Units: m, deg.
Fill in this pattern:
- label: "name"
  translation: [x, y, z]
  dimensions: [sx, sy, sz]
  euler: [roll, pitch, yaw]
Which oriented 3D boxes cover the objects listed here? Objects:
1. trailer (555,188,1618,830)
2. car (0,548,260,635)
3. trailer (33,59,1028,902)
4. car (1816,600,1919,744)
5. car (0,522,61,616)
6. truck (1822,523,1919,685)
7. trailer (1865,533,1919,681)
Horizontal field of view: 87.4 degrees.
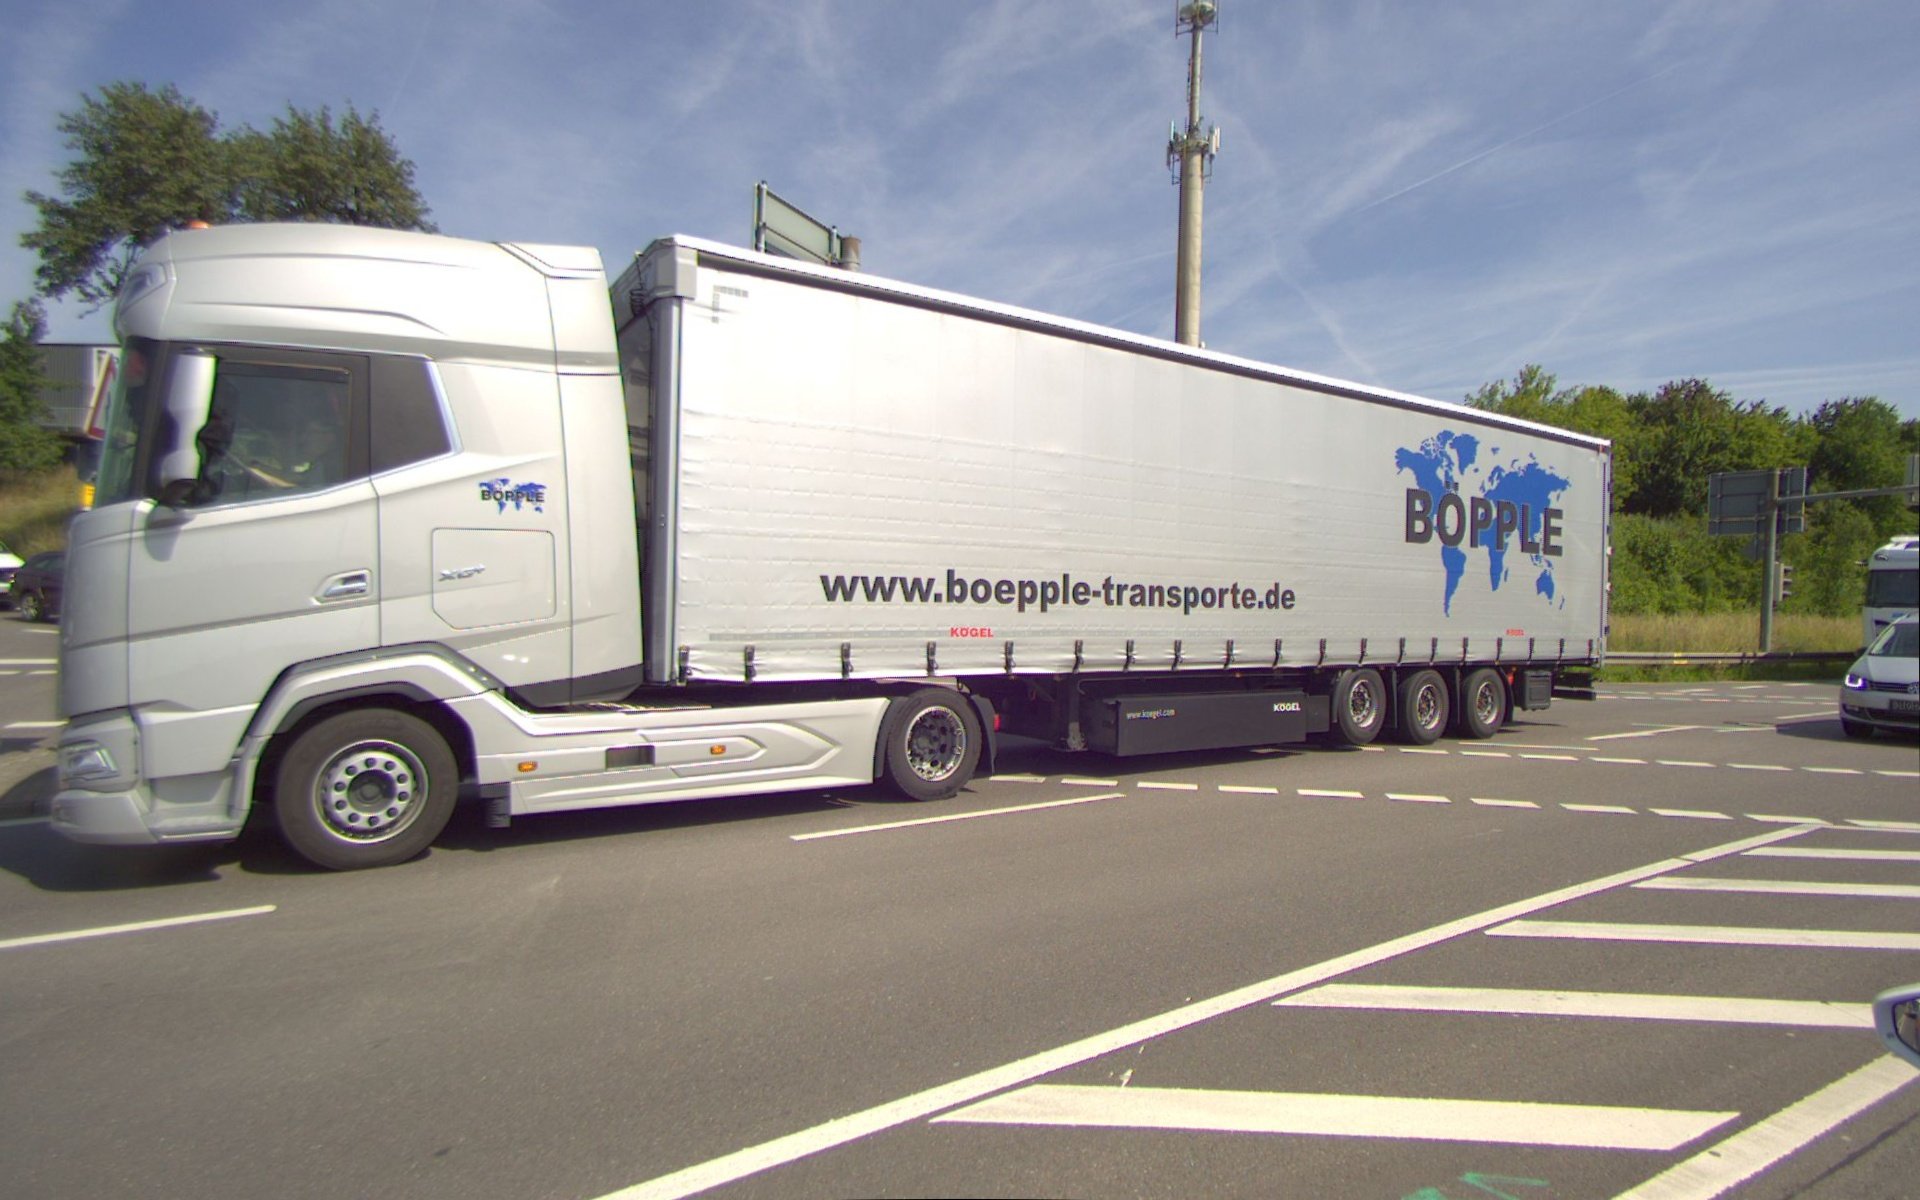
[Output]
- label: "trailer"
  translation: [2.894, -0.469, 11.540]
  dimensions: [13.734, 4.203, 2.675]
  euler: [1, 0, -34]
- label: "car"
  translation: [-17.381, -0.186, 20.861]
  dimensions: [4.874, 1.438, 1.950]
  euler: [4, 0, 16]
- label: "trailer"
  translation: [-2.710, -0.536, 7.765]
  dimensions: [6.116, 4.159, 2.629]
  euler: [1, 0, -34]
- label: "car"
  translation: [13.802, 0.927, 13.809]
  dimensions: [4.539, 1.756, 1.832]
  euler: [0, 2, -33]
- label: "car"
  translation: [-23.789, -0.861, 23.080]
  dimensions: [5.404, 2.069, 2.069]
  euler: [4, 2, 16]
- label: "truck"
  translation: [26.897, 0.156, 27.659]
  dimensions: [6.277, 4.134, 3.169]
  euler: [1, 0, -33]
- label: "trailer"
  translation: [32.863, 0.326, 31.516]
  dimensions: [13.973, 4.134, 3.075]
  euler: [1, 0, -33]
